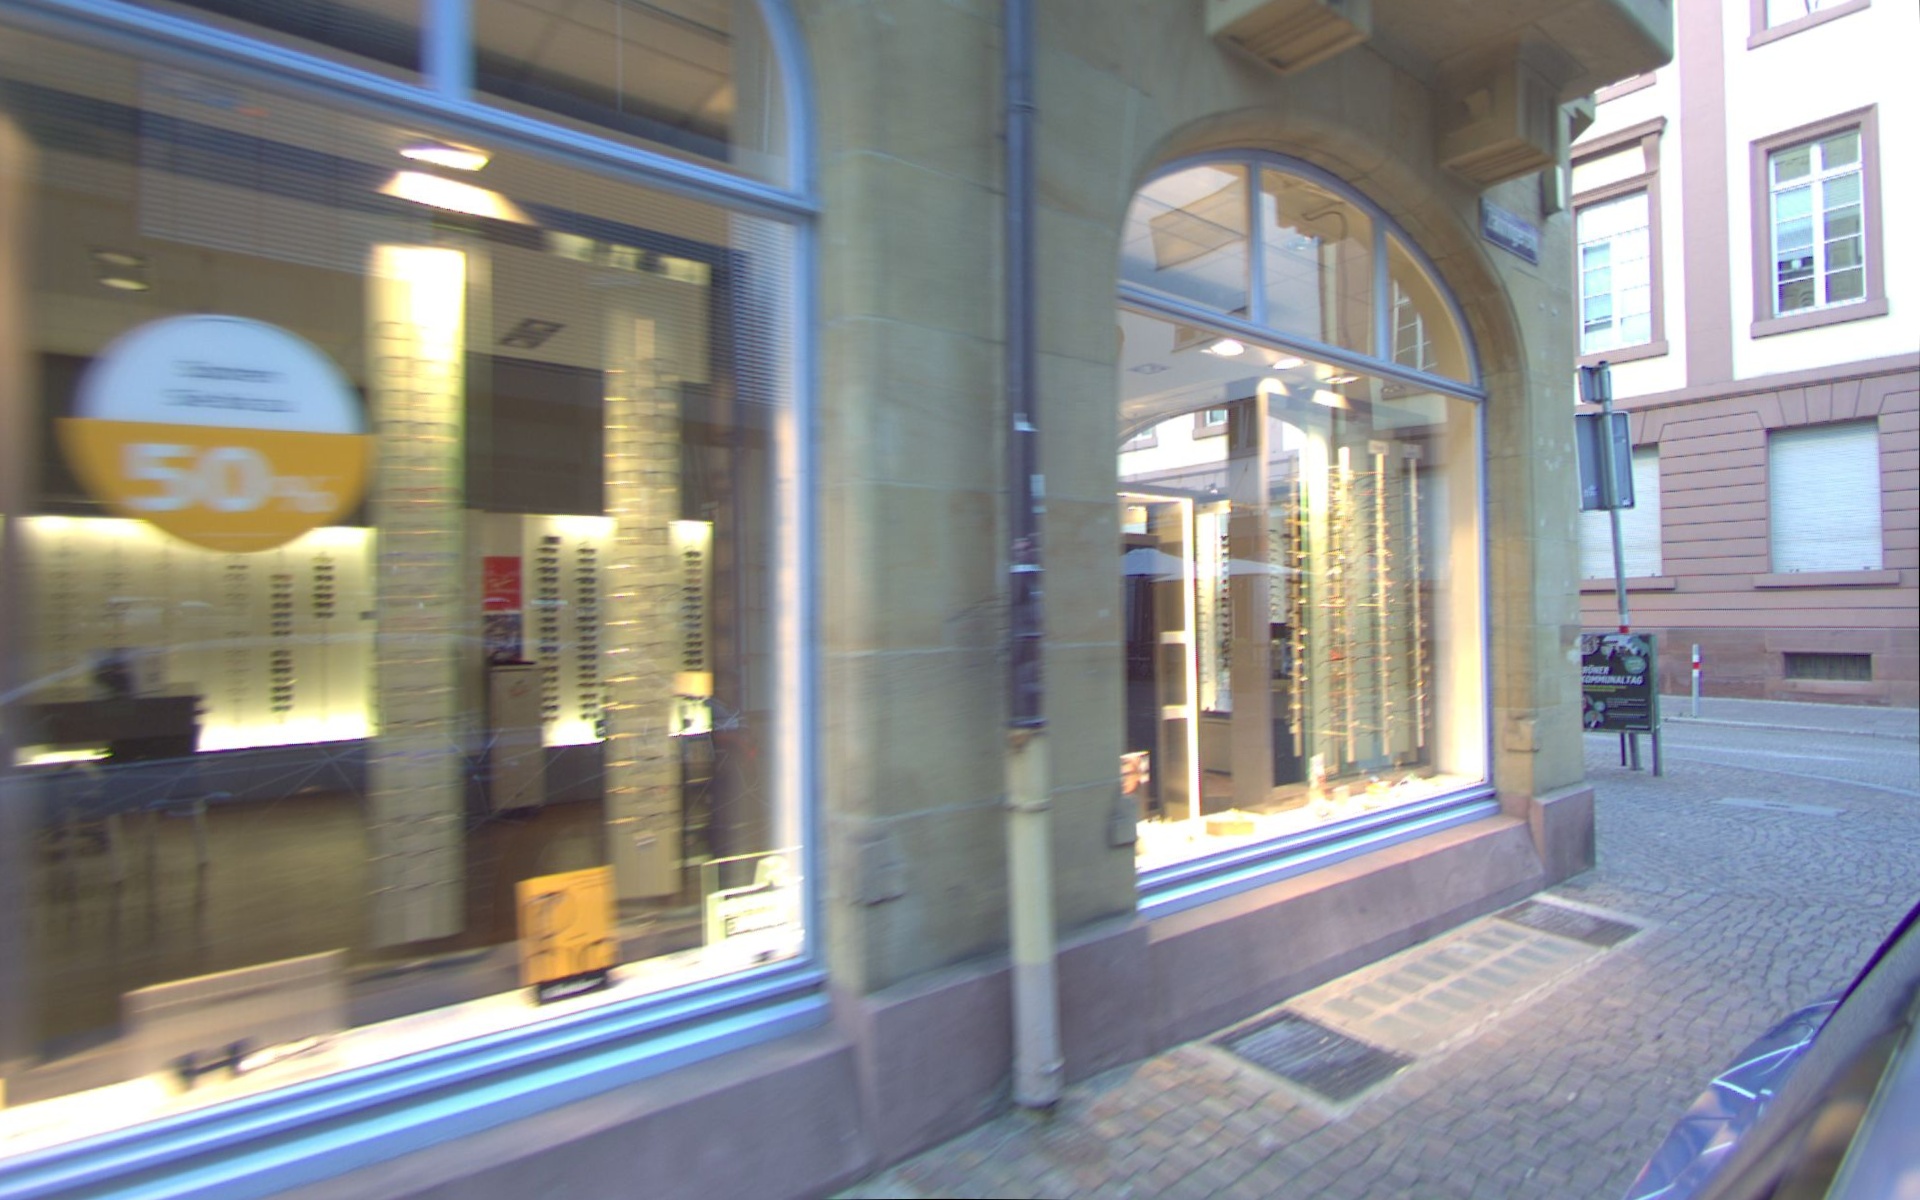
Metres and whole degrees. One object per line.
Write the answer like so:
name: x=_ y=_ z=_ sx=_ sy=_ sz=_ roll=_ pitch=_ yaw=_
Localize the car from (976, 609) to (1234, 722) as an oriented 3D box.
car: x=2.134 y=0.930 z=15.866 sx=1.620 sy=1.460 sz=3.997 roll=-3 pitch=1 yaw=-36
